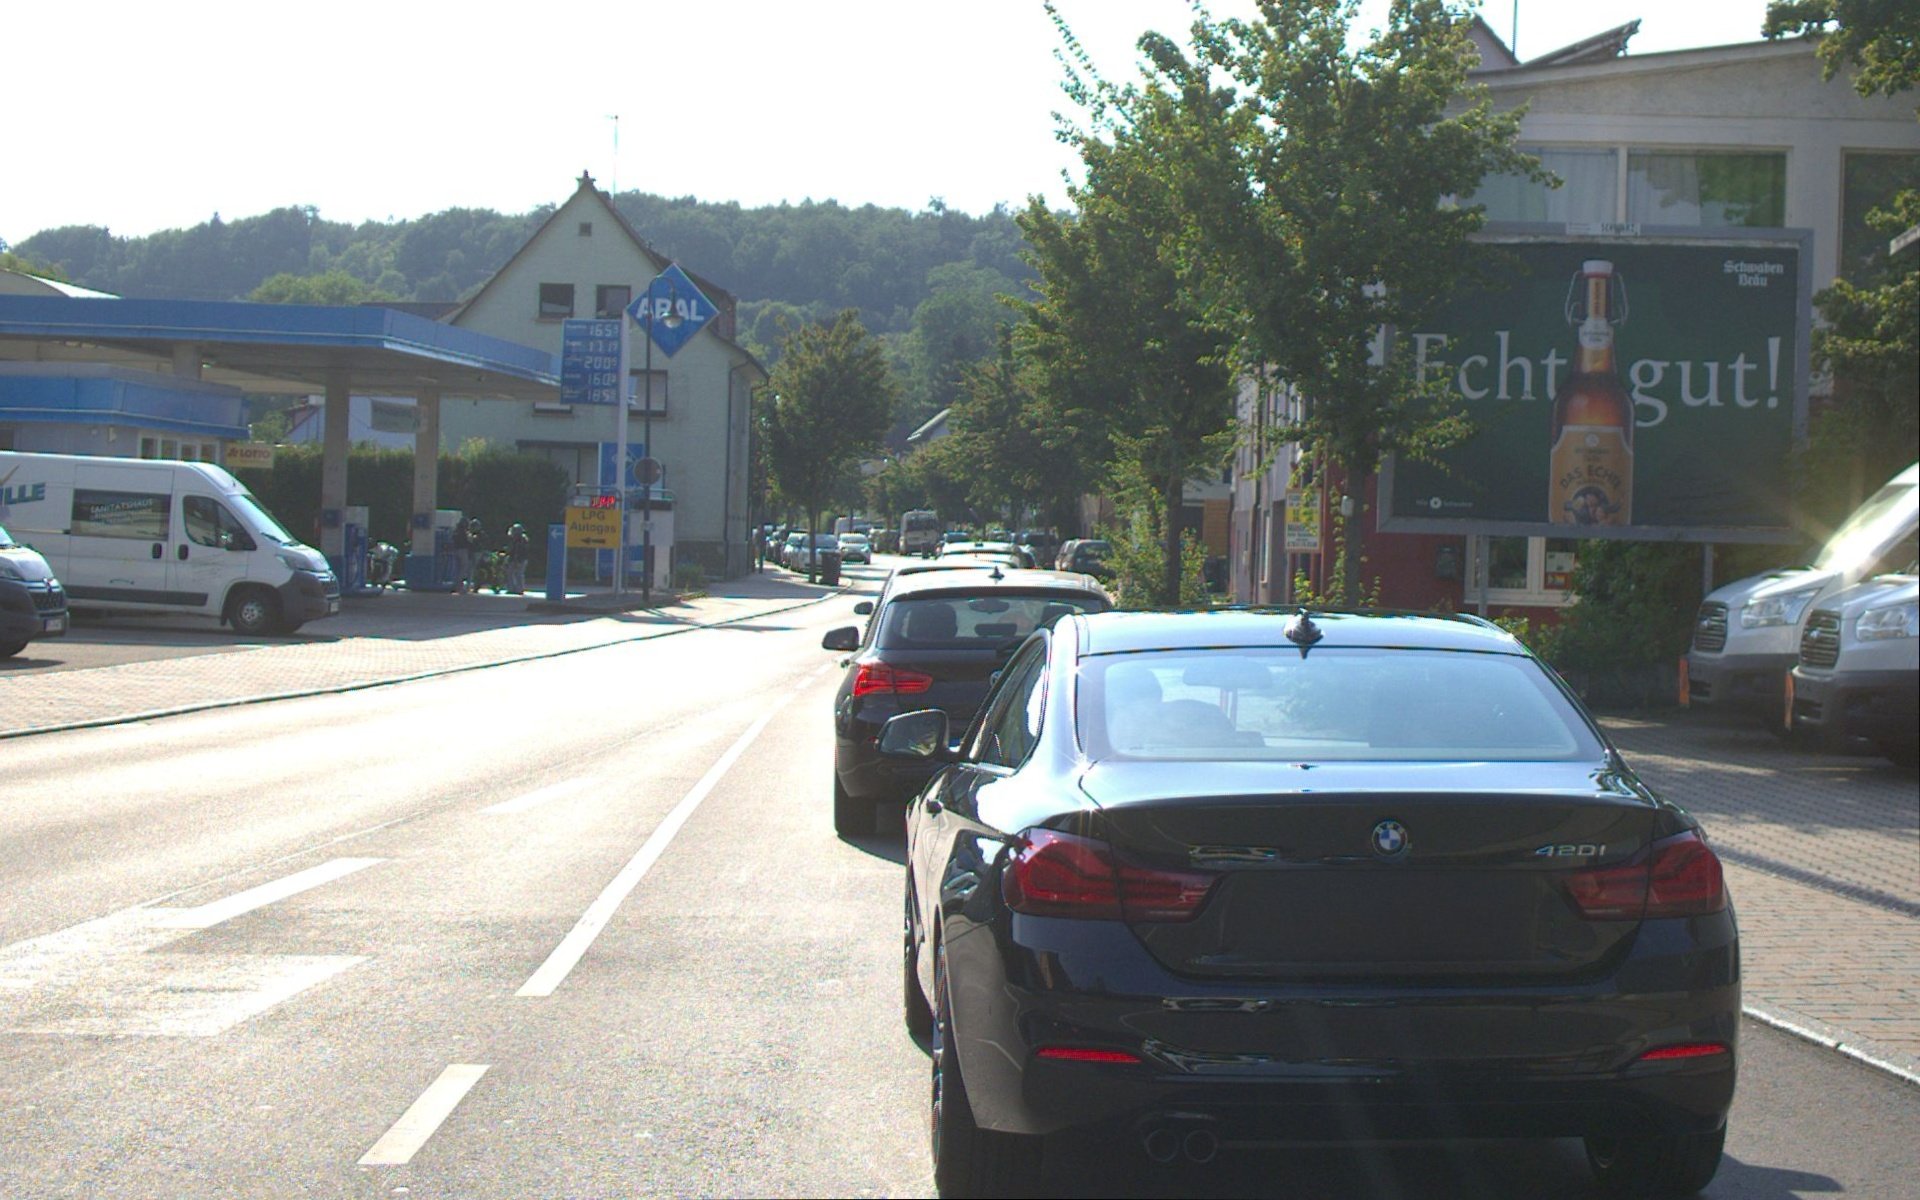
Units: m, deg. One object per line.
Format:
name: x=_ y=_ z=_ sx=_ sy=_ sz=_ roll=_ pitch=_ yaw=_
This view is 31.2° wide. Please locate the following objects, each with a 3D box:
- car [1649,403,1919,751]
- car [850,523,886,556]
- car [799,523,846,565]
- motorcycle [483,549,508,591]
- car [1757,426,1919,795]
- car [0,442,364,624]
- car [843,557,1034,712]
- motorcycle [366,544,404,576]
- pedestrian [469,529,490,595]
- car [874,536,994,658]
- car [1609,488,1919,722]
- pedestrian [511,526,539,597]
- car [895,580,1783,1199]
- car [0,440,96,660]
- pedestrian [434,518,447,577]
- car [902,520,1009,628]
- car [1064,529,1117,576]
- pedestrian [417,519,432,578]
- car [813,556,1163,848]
car: x=8.475 y=-0.157 z=26.024 sx=6.043 sy=2.507 sz=2.044 roll=1 pitch=1 yaw=-1
car: x=-4.350 y=-2.882 z=163.061 sx=1.597 sy=1.480 sz=3.475 roll=2 pitch=1 yaw=0
car: x=-5.090 y=-2.085 z=127.702 sx=1.597 sy=1.480 sz=3.475 roll=2 pitch=1 yaw=0
motorcycle: x=-10.876 y=-0.705 z=80.484 sx=0.363 sy=0.940 sz=1.696 roll=1 pitch=1 yaw=-1
car: x=8.639 y=0.084 z=23.070 sx=6.043 sy=2.355 sz=2.044 roll=1 pitch=1 yaw=-1
car: x=-11.975 y=-1.001 z=49.946 sx=6.159 sy=2.436 sz=2.249 roll=2 pitch=1 yaw=1
car: x=-0.170 y=0.303 z=34.442 sx=1.754 sy=1.409 sz=3.422 roll=1 pitch=1 yaw=2
motorcycle: x=-13.539 y=-0.943 z=80.974 sx=0.459 sy=0.727 sz=1.473 roll=1 pitch=1 yaw=8
pedestrian: x=-11.312 y=-0.886 z=80.936 sx=0.407 sy=1.541 sz=0.433 roll=1 pitch=1 yaw=-2
car: x=-0.348 y=-0.073 z=48.020 sx=1.591 sy=1.595 sz=3.893 roll=1 pitch=1 yaw=0
car: x=7.449 y=0.036 z=28.962 sx=3.599 sy=1.887 sz=1.587 roll=1 pitch=1 yaw=-2
pedestrian: x=-10.225 y=-0.903 z=80.810 sx=0.610 sy=1.664 sz=0.442 roll=1 pitch=1 yaw=-2
car: x=0.734 y=0.675 z=9.129 sx=1.699 sy=1.364 sz=4.263 roll=0 pitch=1 yaw=-3
car: x=-13.384 y=-0.683 z=40.208 sx=5.921 sy=2.471 sz=2.193 roll=2 pitch=2 yaw=5
pedestrian: x=-12.107 y=-1.229 z=80.145 sx=0.262 sy=1.378 sz=0.288 roll=1 pitch=1 yaw=-3
car: x=-0.051 y=-0.468 z=58.174 sx=1.603 sy=1.761 sz=3.411 roll=1 pitch=1 yaw=3
car: x=4.355 y=-1.593 z=115.154 sx=1.597 sy=1.480 sz=3.475 roll=2 pitch=1 yaw=0
pedestrian: x=-12.386 y=-1.194 z=79.510 sx=0.287 sy=1.362 sz=0.263 roll=1 pitch=1 yaw=-3
car: x=0.203 y=0.500 z=19.357 sx=1.772 sy=1.451 sz=3.515 roll=1 pitch=1 yaw=2
